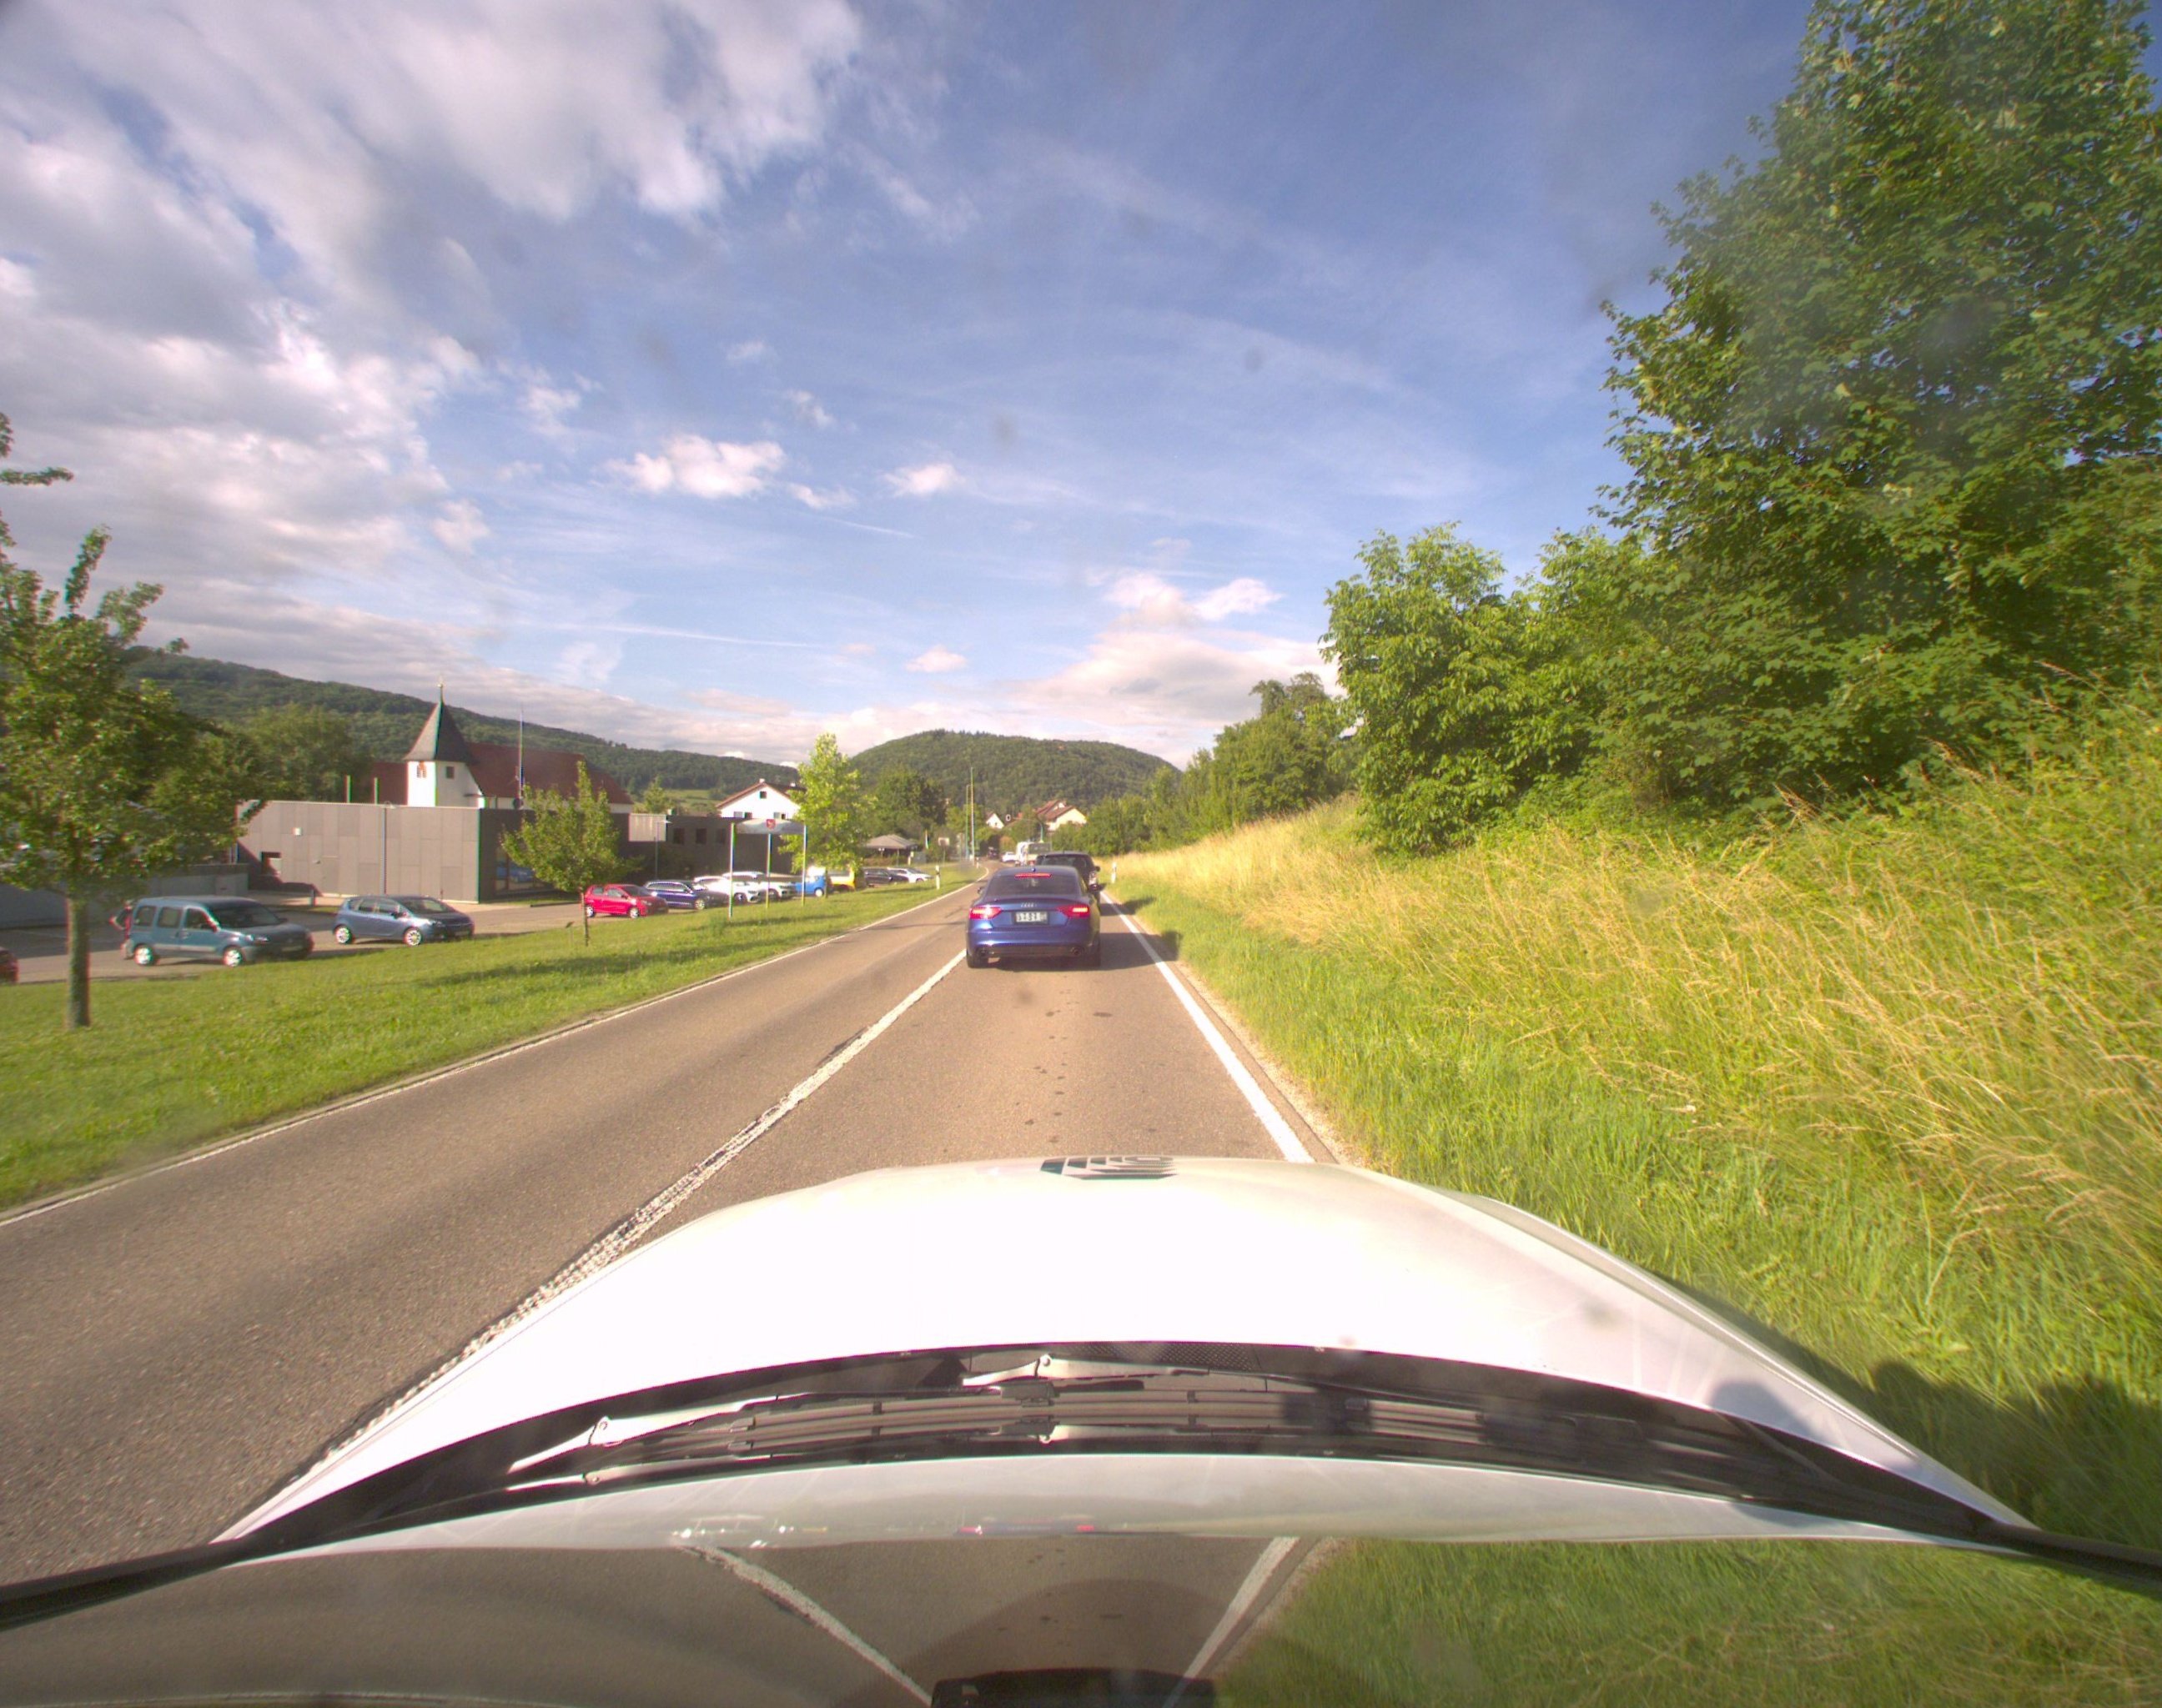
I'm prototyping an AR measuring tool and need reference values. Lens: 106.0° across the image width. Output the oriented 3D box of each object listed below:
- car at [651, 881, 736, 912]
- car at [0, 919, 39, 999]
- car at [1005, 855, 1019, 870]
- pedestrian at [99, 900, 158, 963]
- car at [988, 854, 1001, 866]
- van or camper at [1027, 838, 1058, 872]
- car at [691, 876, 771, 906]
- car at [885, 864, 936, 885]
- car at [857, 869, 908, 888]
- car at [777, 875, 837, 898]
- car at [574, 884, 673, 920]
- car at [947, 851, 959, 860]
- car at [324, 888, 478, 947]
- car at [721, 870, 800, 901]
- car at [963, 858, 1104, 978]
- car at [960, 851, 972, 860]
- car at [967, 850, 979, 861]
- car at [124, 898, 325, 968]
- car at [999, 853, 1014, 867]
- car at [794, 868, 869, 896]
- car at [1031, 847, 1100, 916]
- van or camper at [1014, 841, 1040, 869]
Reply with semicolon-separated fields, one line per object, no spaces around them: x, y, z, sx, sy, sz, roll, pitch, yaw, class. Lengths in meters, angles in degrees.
-19.708;2.175;41.494;3.602;1.405;1.601;-2;0;10;car
-23.884;2.196;16.467;3.896;1.579;1.760;-2;-1;9;car
-9.217;1.154;108.467;1.658;1.924;3.990;-2;0;-7;car
-26.365;2.127;22.545;0.790;1.693;0.706;0;-1;6;pedestrian
-14.829;1.099;139.292;1.679;1.924;3.981;-2;-1;-13;car
-3.097;0.082;64.083;2.049;2.505;5.799;-2;0;-6;van or camper
-19.166;2.020;44.654;3.643;1.493;1.601;-2;0;10;car
-14.836;1.796;70.963;4.010;1.660;1.660;-2;-1;10;car
-16.221;1.958;66.461;3.689;1.439;1.513;-2;-1;10;car
-18.178;2.132;54.023;3.355;1.373;1.661;-2;-1;2;car
-20.538;2.147;36.600;3.602;1.444;1.653;0;1;10;car
-28.922;0.352;184.239;1.961;1.924;3.974;-1;-1;-19;car
-22.087;2.051;26.523;3.795;1.722;1.736;-2;-1;9;car
-18.900;1.838;48.083;4.052;1.673;1.601;-2;-1;10;car
-0.601;0.812;11.959;1.737;1.450;3.516;-1;-1;0;car
-23.937;0.306;169.718;1.682;1.924;3.975;-2;-1;-18;car
-20.973;0.286;157.700;1.681;1.924;3.977;-2;-1;-16;car
-23.031;2.093;21.975;3.841;1.722;1.759;-1;0;7;car
-10.646;0.902;116.305;1.661;1.924;3.983;-2;0;-12;car
-17.289;1.928;56.504;4.525;1.815;1.846;-2;-1;10;car
-0.424;0.659;21.143;1.641;1.625;3.514;0;0;-2;car
-5.521;0.107;83.325;2.279;2.714;5.753;-2;0;-7;van or camper
